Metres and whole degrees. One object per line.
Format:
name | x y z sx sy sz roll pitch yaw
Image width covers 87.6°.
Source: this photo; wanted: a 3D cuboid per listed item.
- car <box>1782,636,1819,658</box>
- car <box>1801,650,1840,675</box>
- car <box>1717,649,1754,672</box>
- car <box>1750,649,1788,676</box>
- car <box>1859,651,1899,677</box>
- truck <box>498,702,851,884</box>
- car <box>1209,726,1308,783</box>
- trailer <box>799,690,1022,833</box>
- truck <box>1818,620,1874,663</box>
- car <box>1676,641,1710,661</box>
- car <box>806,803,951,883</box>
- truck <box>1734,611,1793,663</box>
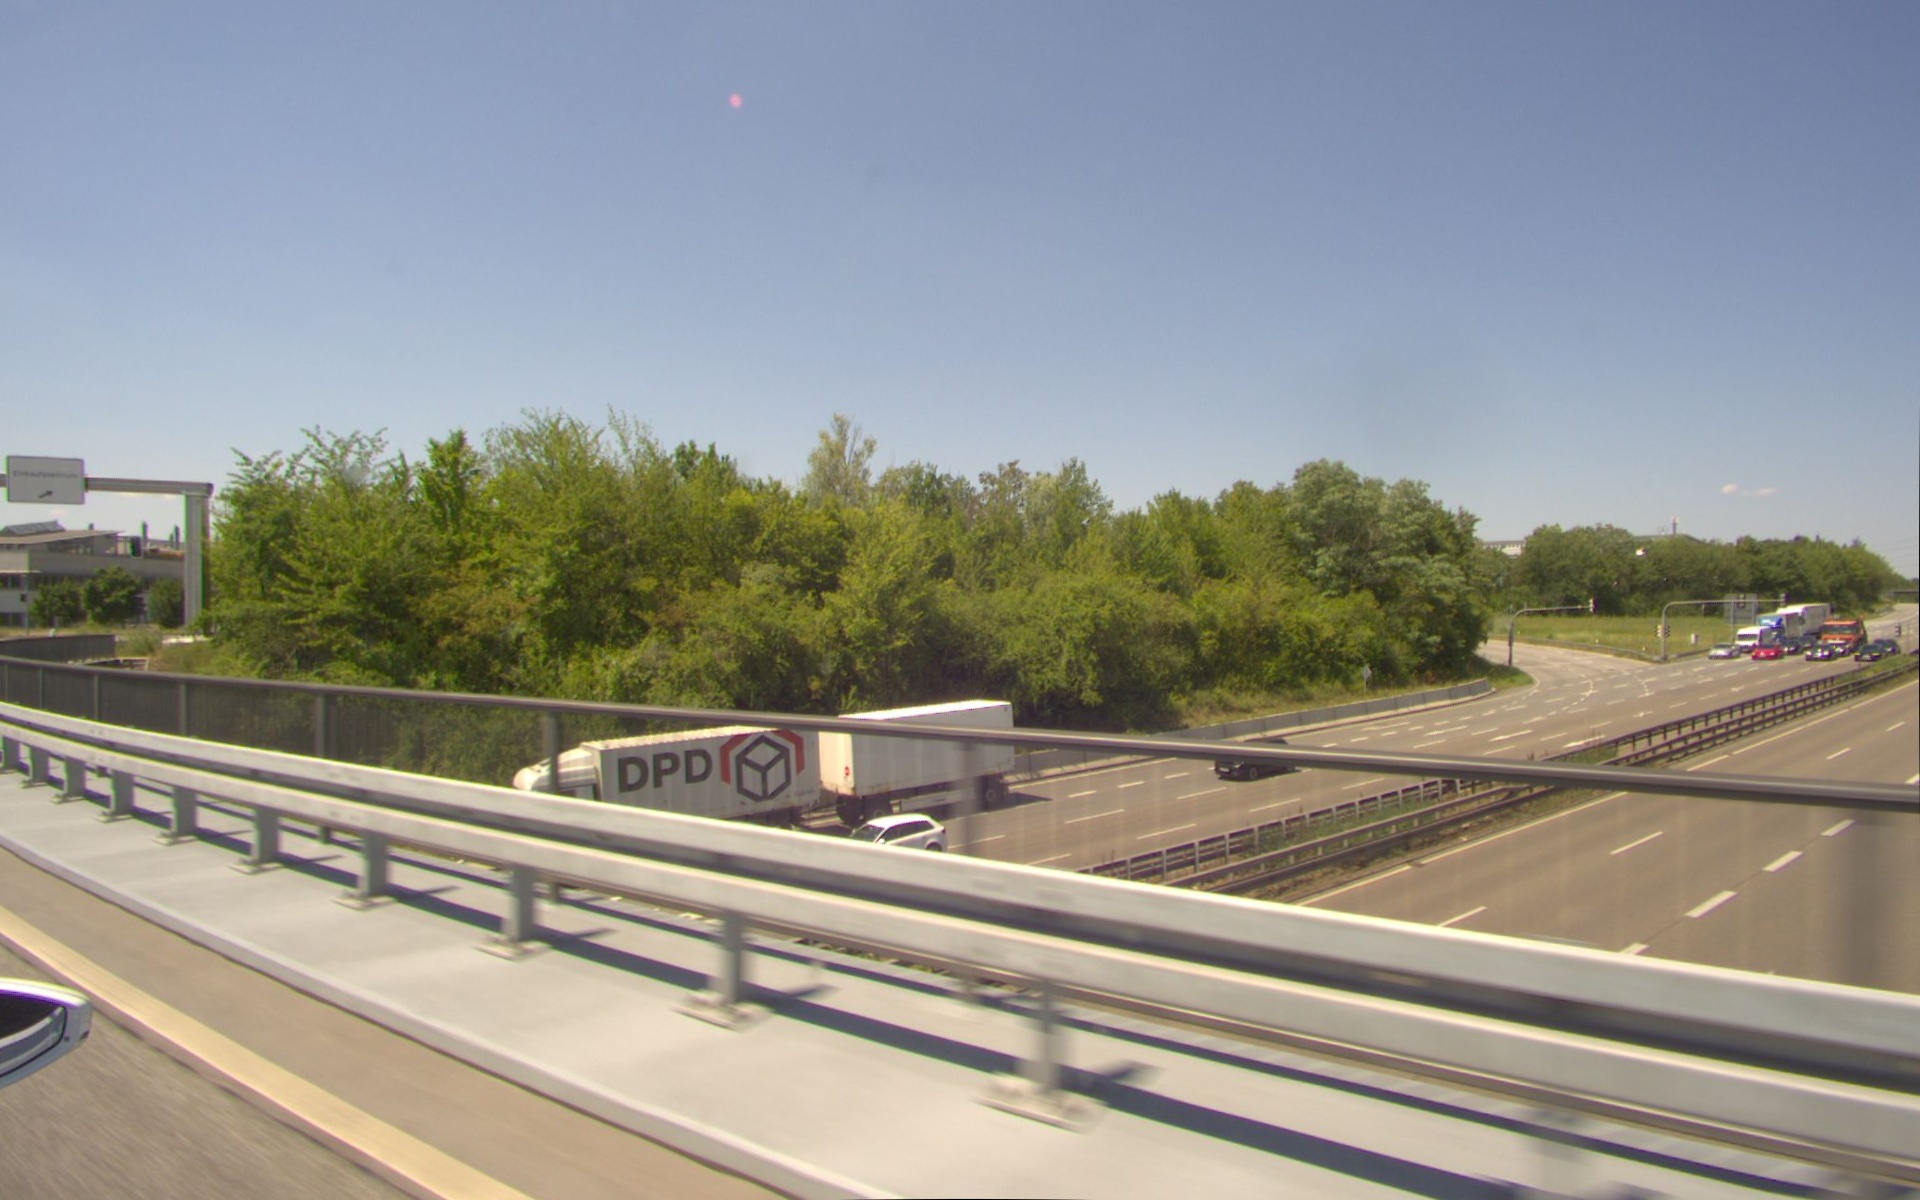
car | 81.666 4.559 97.259 3.953 2.040 1.985 0 -1 -38
car | 77.639 5.612 90.347 3.953 2.040 1.985 0 -1 -38
car | 74.661 5.776 96.403 3.953 2.040 1.985 0 -1 -38
car | 75.604 5.811 93.562 3.953 2.238 1.969 0 -1 -38
car | 80.225 5.566 87.417 3.953 2.040 1.985 0 -1 -38
truck | -9.090 5.987 33.069 10.873 4.404 2.880 0 -1 -36
car | 13.207 6.753 44.180 4.471 1.728 1.898 -3 1 -38
trailer | -1.755 5.925 38.350 8.287 4.404 2.880 0 -1 -36
truck | 87.395 4.016 98.725 8.779 4.063 2.692 0 -1 -39
car | 79.017 5.497 107.992 3.953 1.946 1.985 0 -1 -38
car | -2.449 7.348 30.622 4.092 1.573 1.782 0 -1 -35
truck | 84.107 3.768 104.723 12.269 5.075 2.555 0 -1 -41
